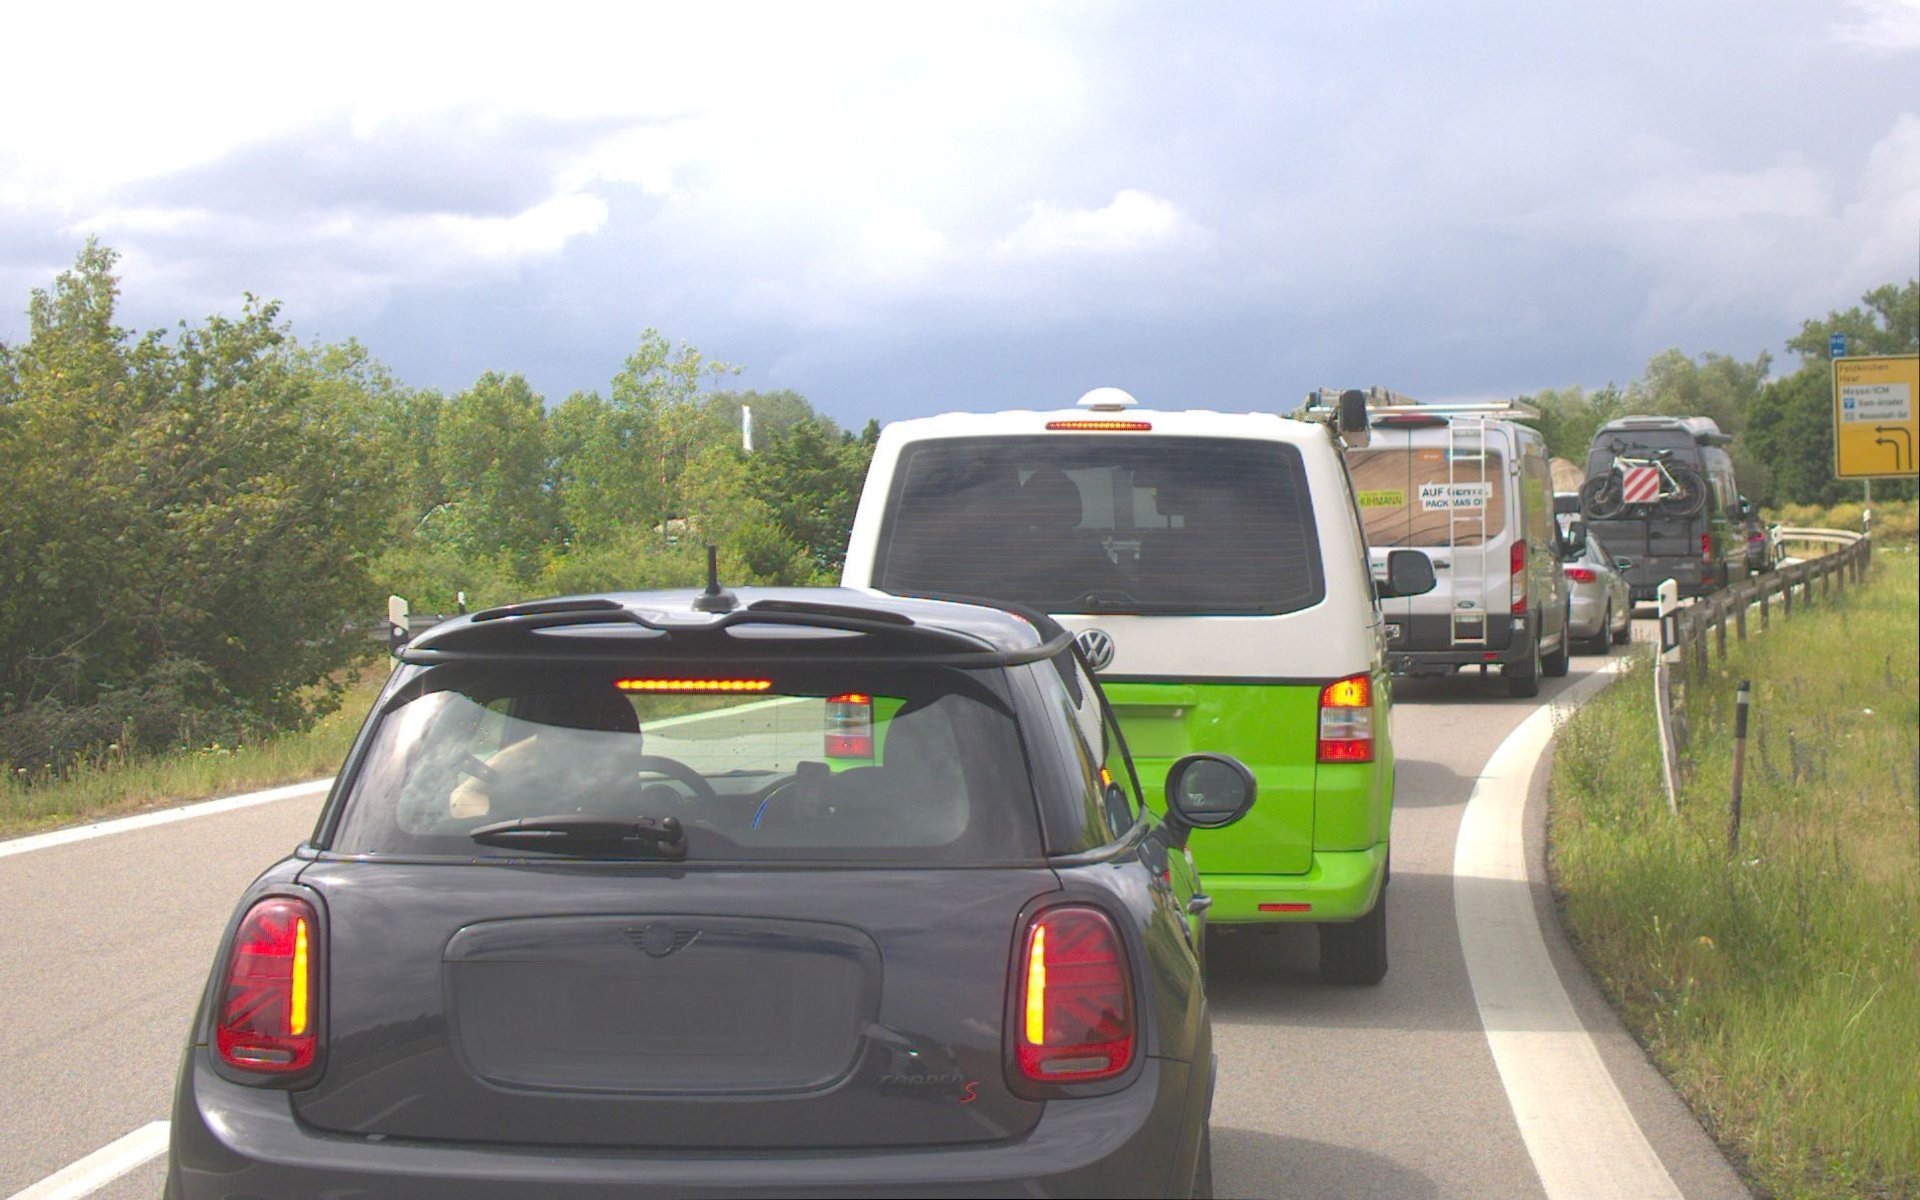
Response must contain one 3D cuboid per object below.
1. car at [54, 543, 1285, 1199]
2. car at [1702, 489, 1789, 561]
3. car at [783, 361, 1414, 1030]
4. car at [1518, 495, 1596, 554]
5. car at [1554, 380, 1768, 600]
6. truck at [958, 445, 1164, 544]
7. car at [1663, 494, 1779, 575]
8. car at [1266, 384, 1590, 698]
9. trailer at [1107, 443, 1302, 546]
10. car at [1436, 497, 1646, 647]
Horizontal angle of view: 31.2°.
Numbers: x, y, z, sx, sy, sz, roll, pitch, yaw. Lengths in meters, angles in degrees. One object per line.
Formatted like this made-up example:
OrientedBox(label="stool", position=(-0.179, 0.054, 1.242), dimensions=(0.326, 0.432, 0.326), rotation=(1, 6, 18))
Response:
OrientedBox(label="car", position=(-0.320, 0.670, 6.869), dimensions=(1.800, 1.541, 3.738), rotation=(0, 1, 4))
OrientedBox(label="car", position=(21.272, -2.005, 93.212), dimensions=(2.096, 1.876, 4.493), rotation=(1, 1, 11))
OrientedBox(label="car", position=(0.686, 0.256, 12.685), dimensions=(1.911, 2.038, 4.180), rotation=(0, 1, 8))
OrientedBox(label="car", position=(19.784, -2.486, 114.104), dimensions=(2.095, 1.876, 4.494), rotation=(1, 1, 4))
OrientedBox(label="car", position=(10.518, -1.559, 51.159), dimensions=(2.313, 3.058, 6.656), rotation=(1, 1, 18))
OrientedBox(label="truck", position=(4.154, -4.378, 144.182), dimensions=(2.837, 3.962, 10.027), rotation=(0, 1, -38))
OrientedBox(label="car", position=(15.711, -1.329, 70.841), dimensions=(1.895, 1.583, 4.491), rotation=(1, 1, 18))
OrientedBox(label="car", position=(4.411, -0.523, 31.580), dimensions=(2.213, 2.613, 5.530), rotation=(1, 1, 15))
OrientedBox(label="trailer", position=(9.635, -4.132, 136.603), dimensions=(3.036, 3.884, 8.772), rotation=(0, 1, -33))
OrientedBox(label="car", position=(6.788, -0.329, 39.867), dimensions=(1.995, 1.636, 3.926), rotation=(1, 1, 15))
